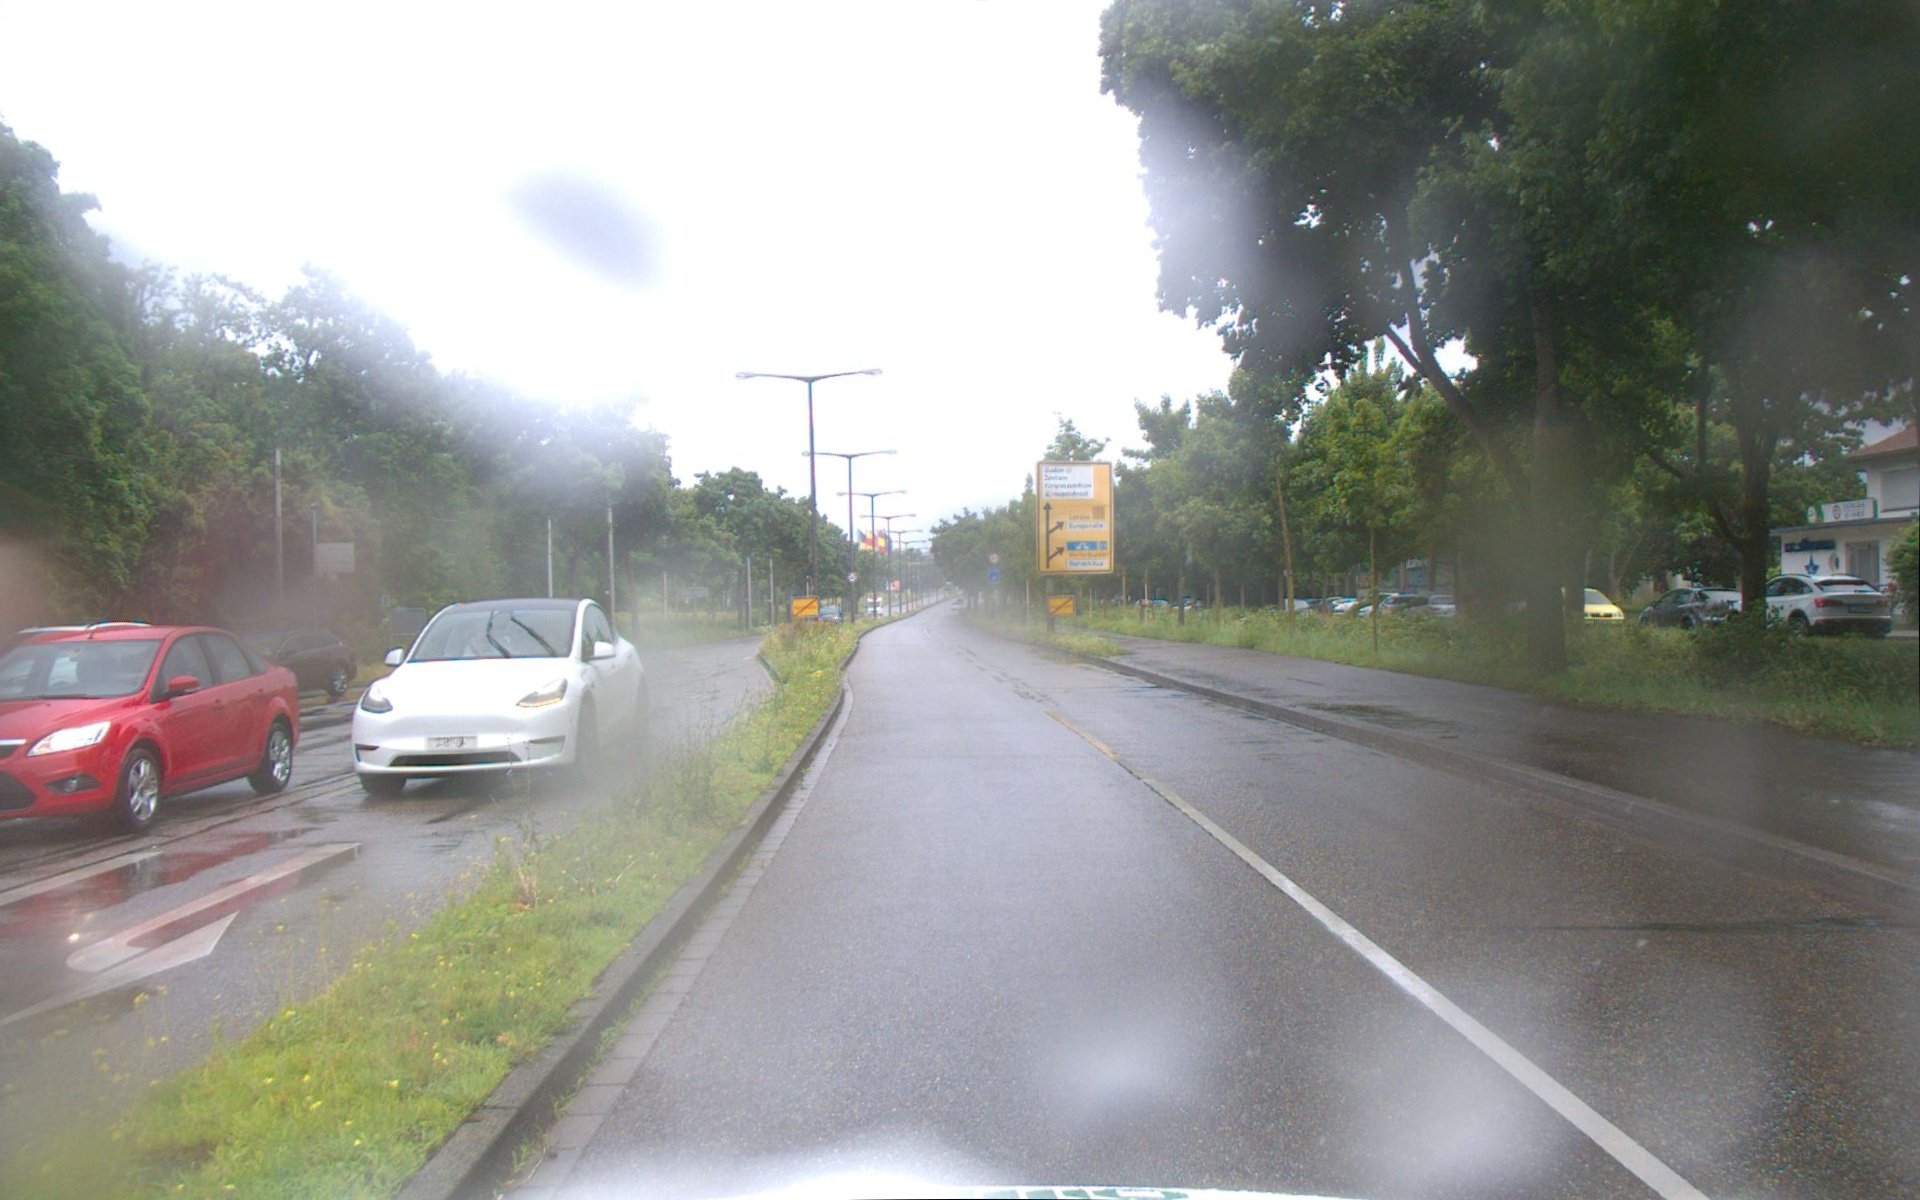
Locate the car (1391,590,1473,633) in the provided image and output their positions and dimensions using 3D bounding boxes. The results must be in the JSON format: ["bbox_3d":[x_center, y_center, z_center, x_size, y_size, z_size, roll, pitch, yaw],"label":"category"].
[{"bbox_3d":[19.380,0.486,68.142,1.953,1.654,4.641,-2,-1,-1],"label":"car"}]

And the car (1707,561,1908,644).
[{"bbox_3d":[19.552,0.077,38.444,1.954,1.747,4.876,-2,-1,-3],"label":"car"}]

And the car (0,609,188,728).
[{"bbox_3d":[-15.489,1.099,28.363,1.951,1.859,4.774,0,-1,5],"label":"car"}]

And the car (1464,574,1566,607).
[{"bbox_3d":[26.891,-0.451,80.203,4.249,1.510,1.943,1,-1,-4],"label":"car"}]

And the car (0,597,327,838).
[{"bbox_3d":[-6.835,0.861,13.360,1.765,1.597,4.427,-3,-1,-1],"label":"car"}]

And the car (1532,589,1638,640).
[{"bbox_3d":[19.374,0.456,51.438,1.604,1.512,4.070,1,-1,-3],"label":"car"}]

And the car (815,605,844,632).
[{"bbox_3d":[-8.973,1.274,114.009,1.709,1.679,4.135,-4,0,-2],"label":"car"}]

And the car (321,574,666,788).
[{"bbox_3d":[-4.126,0.640,15.492,1.921,1.645,4.696,-2,0,-1],"label":"car"}]

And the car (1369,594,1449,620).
[{"bbox_3d":[27.565,0.437,101.655,4.474,1.585,1.946,0,-1,2],"label":"car"}]

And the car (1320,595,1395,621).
[{"bbox_3d":[26.411,0.535,109.908,4.482,1.674,1.997,1,-1,-6],"label":"car"}]

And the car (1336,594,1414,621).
[{"bbox_3d":[26.849,0.502,107.118,4.480,1.735,1.998,1,-1,-5],"label":"car"}]

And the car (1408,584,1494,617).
[{"bbox_3d":[27.484,0.042,92.655,4.249,1.755,1.943,1,-1,-4],"label":"car"}]

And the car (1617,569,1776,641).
[{"bbox_3d":[19.453,0.146,43.941,1.954,1.747,4.639,-2,-1,-3],"label":"car"}]

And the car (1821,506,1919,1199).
[{"bbox_3d":[2.990,0.648,1.700,1.847,1.638,4.193,0,1,-4],"label":"car"}]
